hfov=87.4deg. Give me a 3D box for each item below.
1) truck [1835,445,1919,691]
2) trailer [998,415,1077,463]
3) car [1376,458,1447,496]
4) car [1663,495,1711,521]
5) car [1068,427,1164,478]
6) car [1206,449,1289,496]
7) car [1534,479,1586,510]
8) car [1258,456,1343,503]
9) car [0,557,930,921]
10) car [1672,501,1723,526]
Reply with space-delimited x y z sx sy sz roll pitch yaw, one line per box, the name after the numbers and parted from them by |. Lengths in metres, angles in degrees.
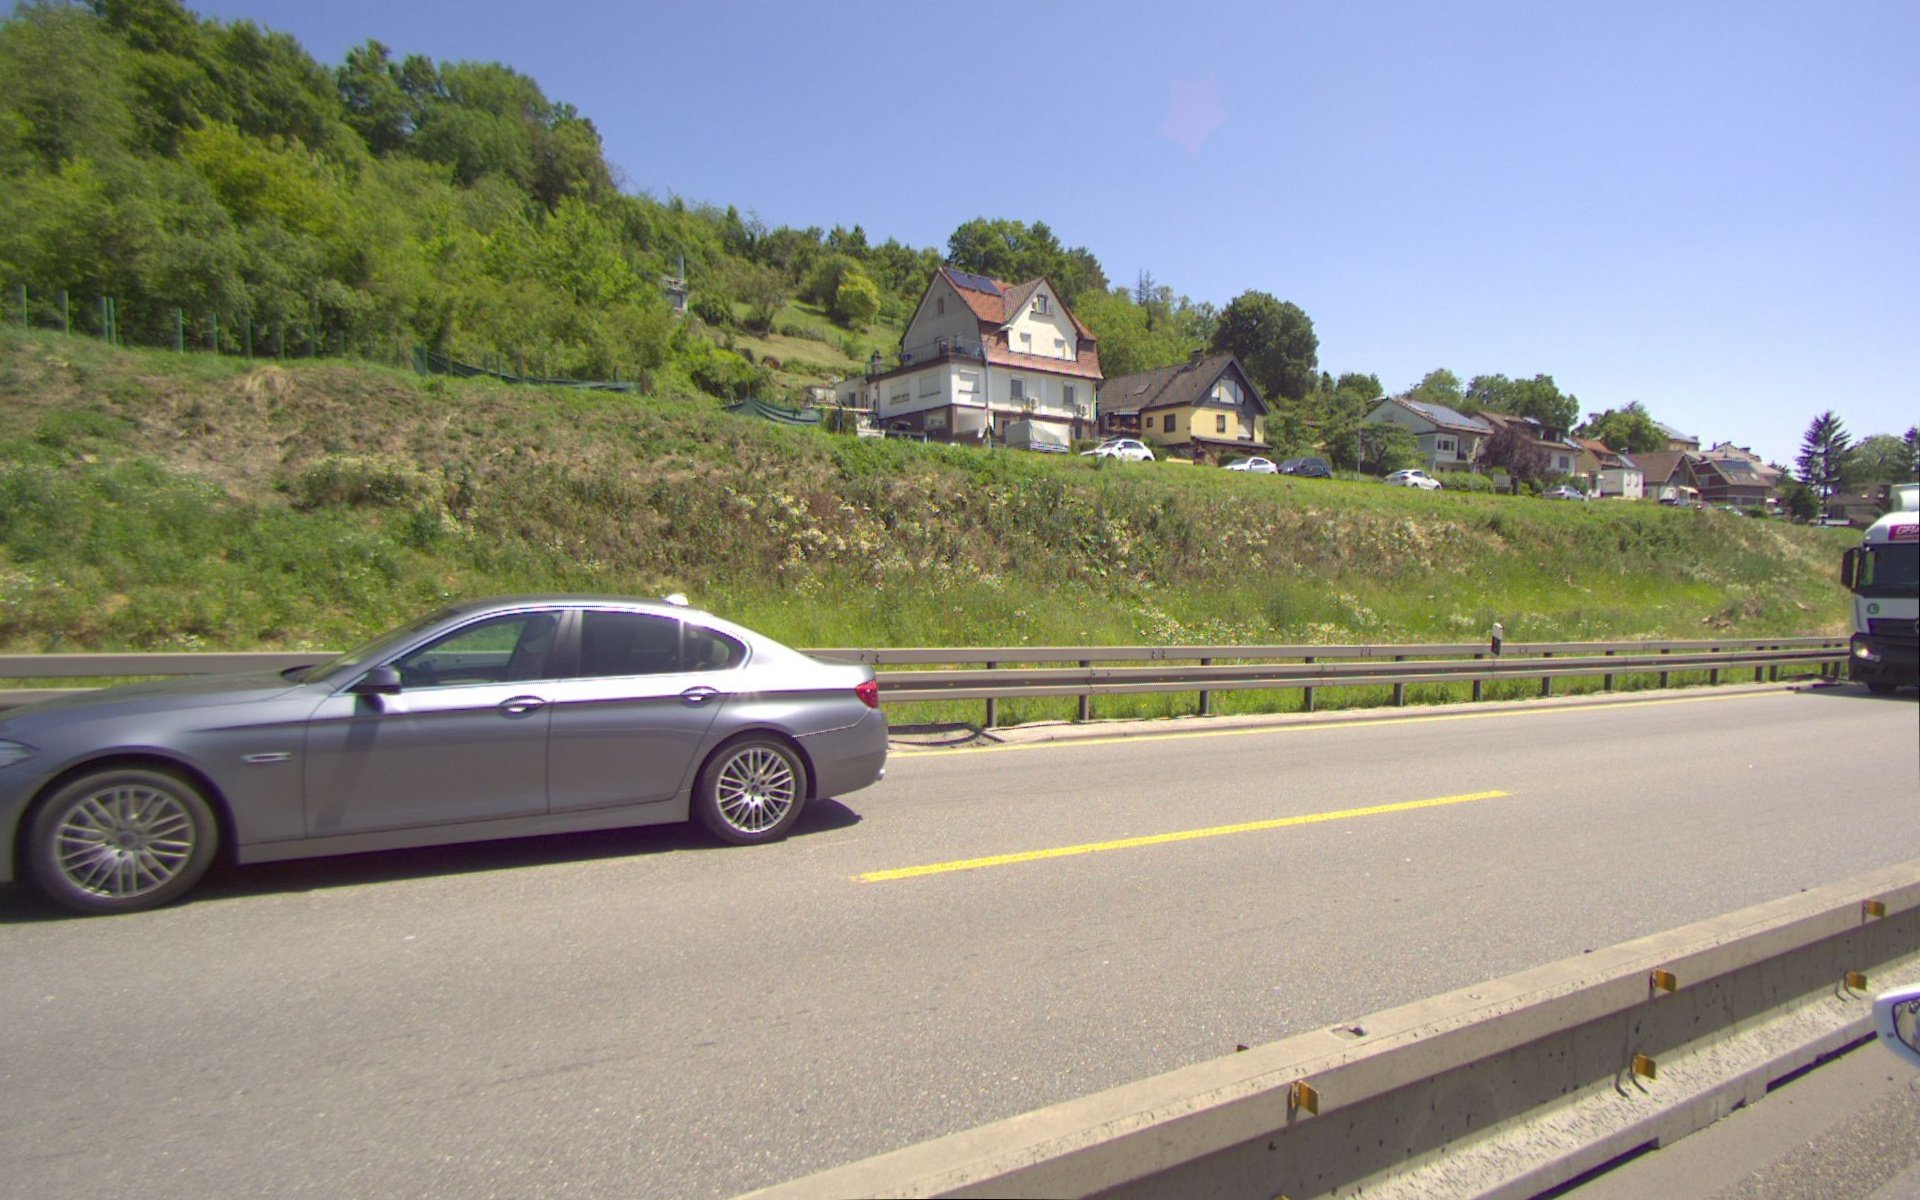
21.850 -0.507 20.710 10.264 4.455 2.608 1 0 -31 | truck
3.411 -7.016 44.102 3.014 1.536 1.885 2 0 -41 | trailer
28.902 -7.813 64.236 4.966 1.818 1.979 2 0 -37 | car
64.261 -8.126 88.733 4.720 1.818 2.162 2 0 -37 | car
7.411 -6.893 47.431 4.516 1.678 1.977 2 0 -40 | car
15.504 -6.830 54.099 4.388 1.896 1.980 2 0 -36 | car
44.718 -7.794 74.815 3.963 1.818 1.979 2 0 -37 | car
19.460 -6.838 57.316 4.925 2.035 2.056 2 0 -36 | car
-2.958 0.622 5.983 5.238 1.528 1.984 2 0 -30 | car
68.591 -7.984 93.432 4.751 1.818 2.333 2 0 -34 | car
